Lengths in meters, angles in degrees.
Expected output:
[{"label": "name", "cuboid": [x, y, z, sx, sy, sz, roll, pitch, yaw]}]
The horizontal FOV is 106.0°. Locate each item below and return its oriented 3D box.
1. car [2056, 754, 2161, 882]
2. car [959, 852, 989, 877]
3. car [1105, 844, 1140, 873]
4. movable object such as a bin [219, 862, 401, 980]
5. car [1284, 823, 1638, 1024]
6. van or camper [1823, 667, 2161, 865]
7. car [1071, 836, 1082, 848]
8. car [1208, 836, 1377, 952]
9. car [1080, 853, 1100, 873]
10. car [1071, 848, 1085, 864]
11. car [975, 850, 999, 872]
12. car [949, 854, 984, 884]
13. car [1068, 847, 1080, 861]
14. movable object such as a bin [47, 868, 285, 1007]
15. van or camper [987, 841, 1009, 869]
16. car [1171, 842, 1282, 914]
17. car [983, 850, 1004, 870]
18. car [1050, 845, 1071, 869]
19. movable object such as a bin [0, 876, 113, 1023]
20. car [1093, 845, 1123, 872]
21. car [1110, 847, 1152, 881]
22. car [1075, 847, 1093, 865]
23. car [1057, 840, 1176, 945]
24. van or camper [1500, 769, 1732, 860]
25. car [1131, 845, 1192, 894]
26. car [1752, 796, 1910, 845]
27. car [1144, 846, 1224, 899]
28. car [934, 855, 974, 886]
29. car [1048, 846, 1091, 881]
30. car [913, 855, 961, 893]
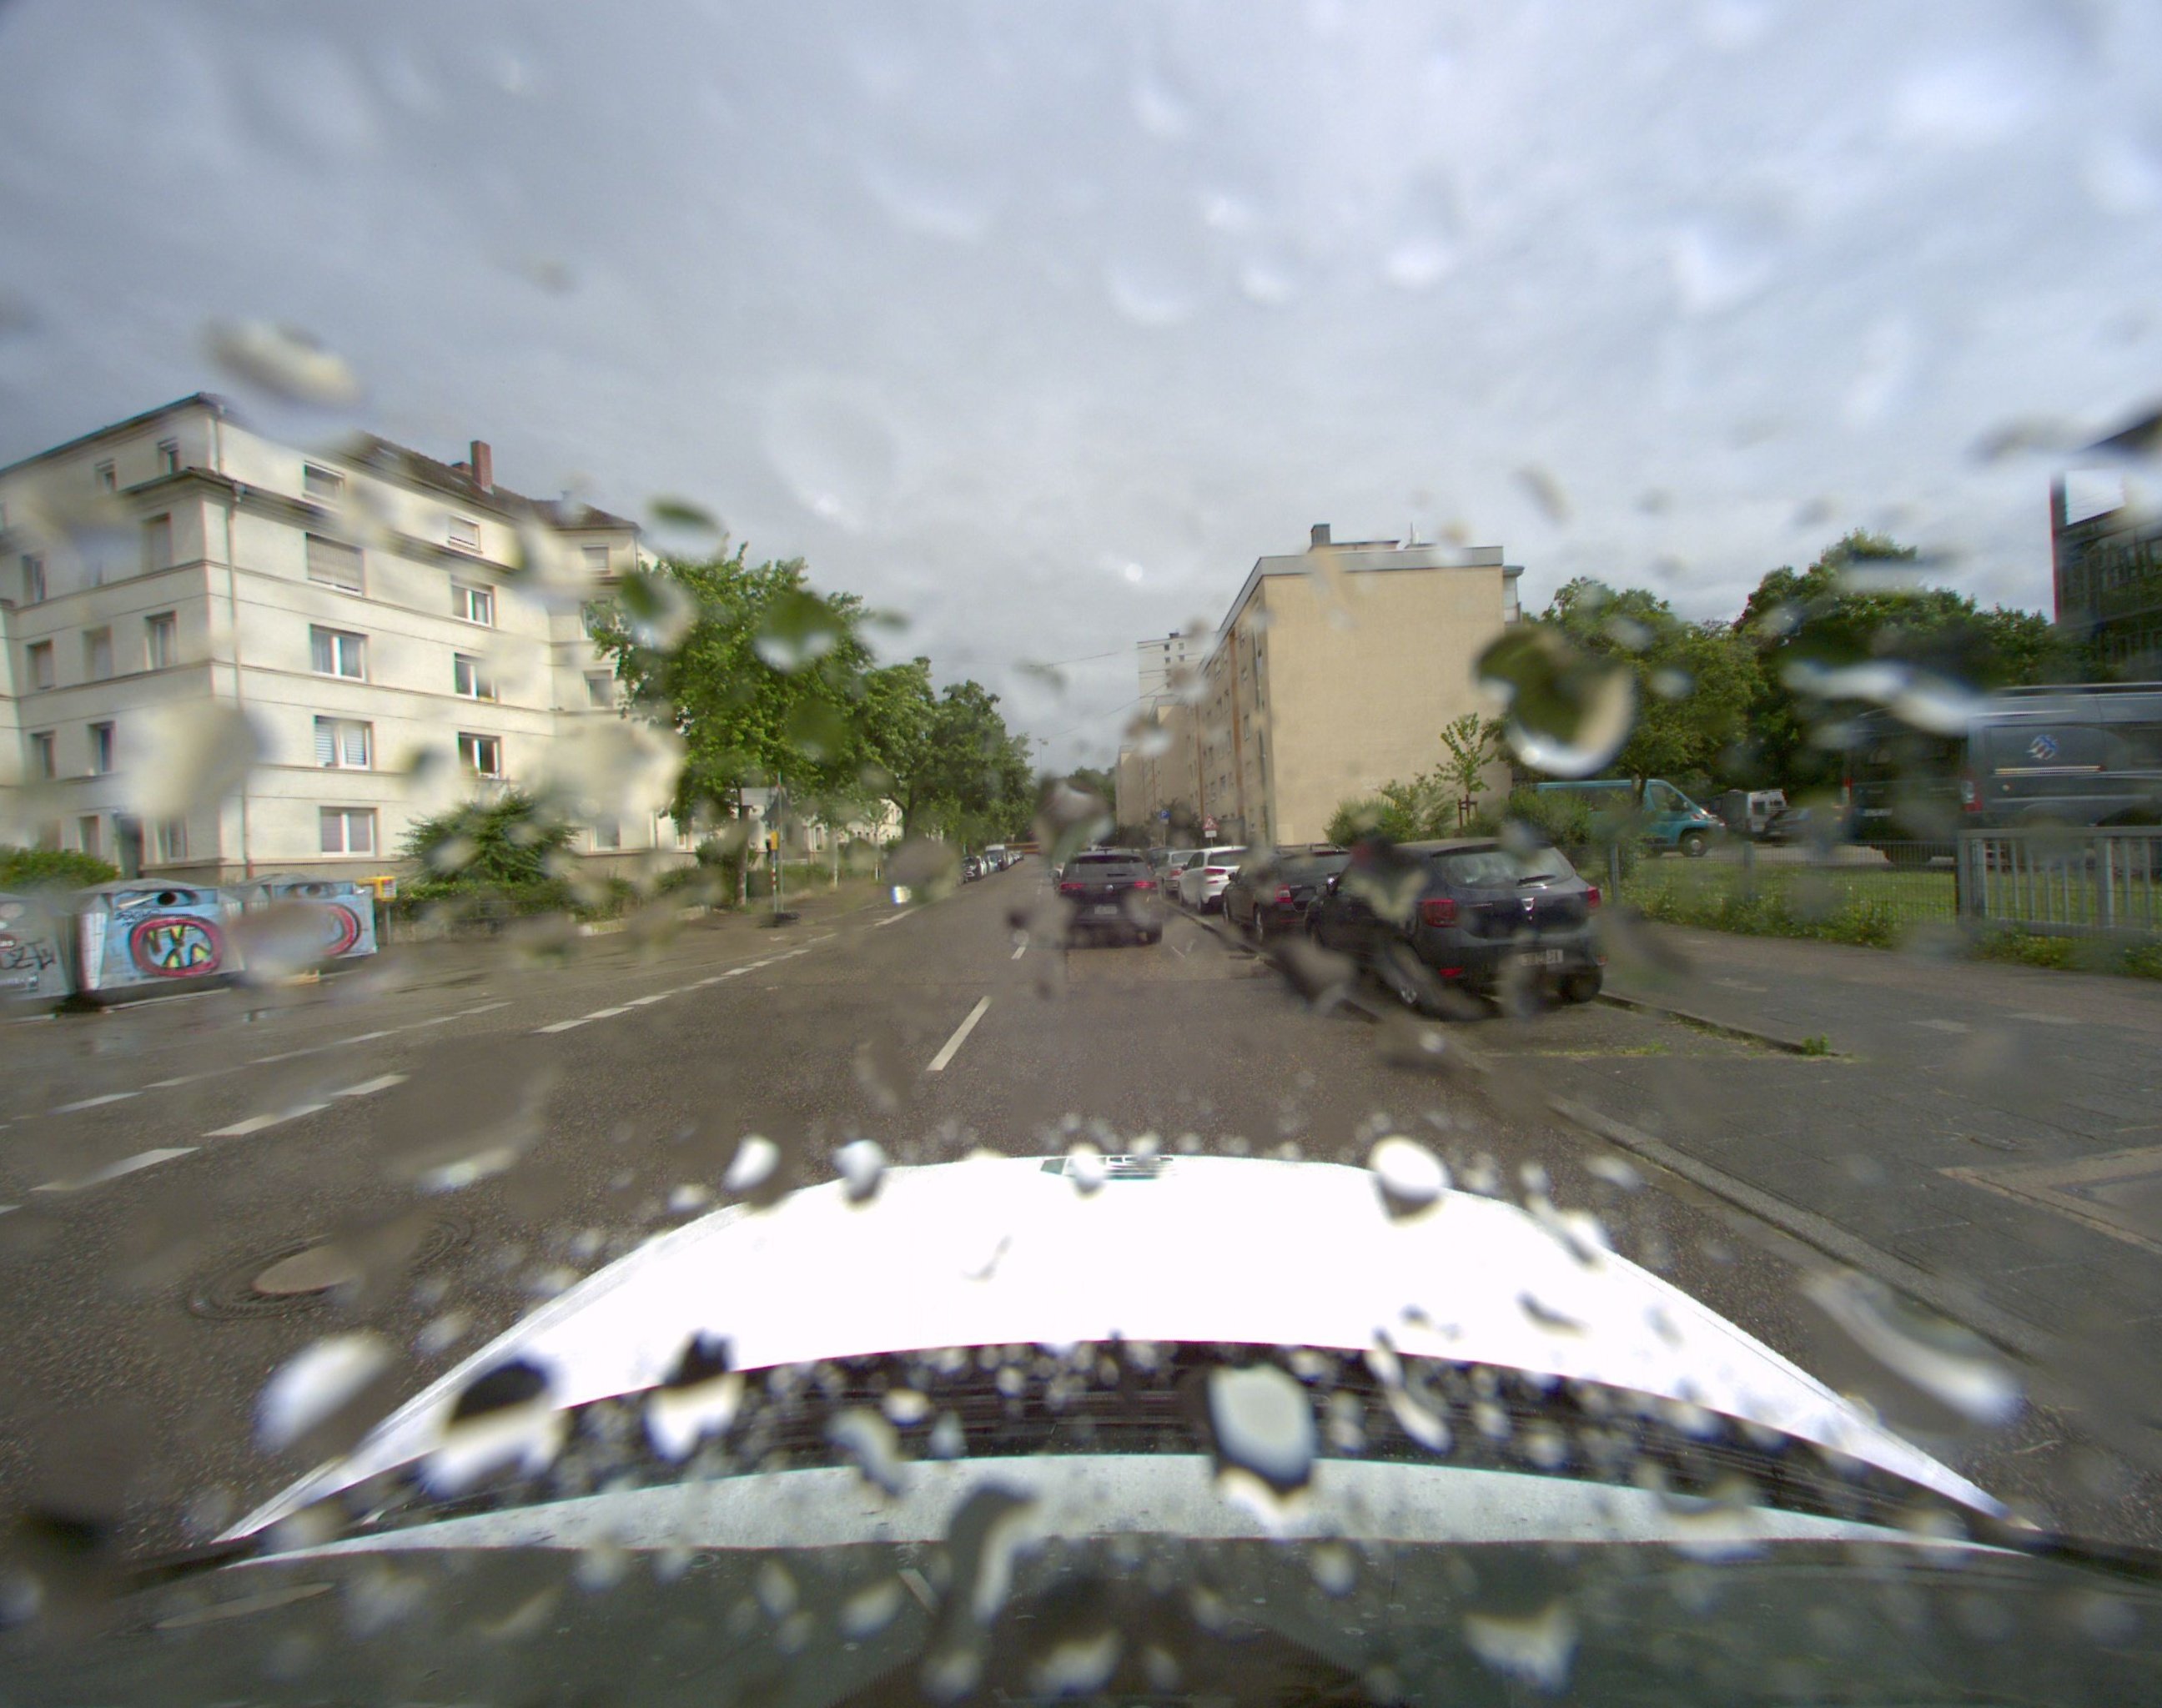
[{"label": "car", "cuboid": [13.003, -0.444, 8.514, 1.603, 1.448, 3.421, -3, 0, 4]}, {"label": "car", "cuboid": [-6.904, 0.650, 52.770, 1.582, 1.417, 3.916, -4, 0, -3]}, {"label": "car", "cuboid": [2.389, 0.245, 47.597, 1.601, 1.505, 4.028, -4, 0, -3]}, {"label": "movable object such as a bin", "cuboid": [-12.140, 1.032, 12.869, 1.525, 1.661, 1.466, -3, 1, 20]}, {"label": "car", "cuboid": [3.618, 0.570, 8.672, 1.752, 1.527, 3.998, -4, 0, -1]}, {"label": "van or camper", "cuboid": [14.538, -1.226, 12.050, 4.979, 2.554, 2.176, -3, -1, 2]}, {"label": "car", "cuboid": [-0.766, -2.014, 139.232, 1.661, 1.837, 3.998, -4, 0, -1]}, {"label": "car", "cuboid": [3.342, 0.575, 13.695, 1.600, 1.508, 4.158, -5, 0, -1]}, {"label": "car", "cuboid": [0.858, 0.854, 78.129, 1.601, 1.765, 4.028, -4, 0, -3]}, {"label": "car", "cuboid": [-0.405, 0.260, 101.518, 1.661, 1.837, 3.998, -4, 0, -1]}, {"label": "car", "cuboid": [-7.708, 0.585, 67.175, 1.582, 1.639, 3.916, -4, 0, -3]}, {"label": "car", "cuboid": [-6.660, 0.843, 47.671, 1.582, 1.576, 4.009, -4, 0, -3]}, {"label": "car", "cuboid": [-1.079, -0.009, 120.500, 1.661, 1.837, 3.998, -4, 0, -1]}, {"label": "movable object such as a bin", "cuboid": [-12.678, 1.112, 11.358, 1.525, 1.674, 1.674, -3, 1, 20]}, {"label": "van or camper", "cuboid": [-8.122, 0.066, 79.953, 1.799, 2.493, 5.014, -4, 0, -3]}, {"label": "car", "cuboid": [3.421, 0.526, 19.893, 1.745, 1.508, 4.108, -3, 0, -3]}, {"label": "car", "cuboid": [-7.780, 0.536, 72.842, 1.582, 1.639, 3.916, -4, 0, -3]}, {"label": "car", "cuboid": [-1.901, 0.281, 76.187, 1.830, 2.103, 3.999, -1, -1, 0]}, {"label": "movable object such as a bin", "cuboid": [-13.247, 1.171, 9.801, 1.525, 1.656, 1.536, -3, 1, 20]}, {"label": "car", "cuboid": [1.791, 0.270, 54.976, 1.601, 1.672, 4.028, -4, 0, -3]}, {"label": "car", "cuboid": [2.476, 0.472, 41.067, 1.690, 1.538, 4.030, -4, 0, -1]}, {"label": "car", "cuboid": [0.317, 0.226, 88.165, 1.601, 1.765, 4.028, -4, 0, -3]}, {"label": "car", "cuboid": [0.602, 0.603, 14.986, 1.866, 1.645, 4.063, -1, 0, 1]}, {"label": "van or camper", "cuboid": [14.470, -1.041, 22.319, 4.737, 2.131, 2.325, -3, 1, 4]}, {"label": "car", "cuboid": [2.896, 0.505, 30.125, 1.601, 1.661, 4.027, -1, 1, -3]}, {"label": "car", "cuboid": [27.409, -1.188, 29.866, 4.082, 1.486, 1.641, -3, 0, 4]}, {"label": "car", "cuboid": [3.090, 0.527, 25.292, 1.712, 1.452, 4.254, -1, 0, -3]}, {"label": "car", "cuboid": [-6.656, 0.835, 42.946, 1.582, 1.417, 4.048, -4, 0, -3]}, {"label": "car", "cuboid": [-0.463, 0.443, 37.609, 1.807, 1.503, 4.001, -1, -1, 1]}, {"label": "car", "cuboid": [-6.476, 0.863, 36.917, 1.582, 1.505, 4.060, -4, 0, -3]}]
